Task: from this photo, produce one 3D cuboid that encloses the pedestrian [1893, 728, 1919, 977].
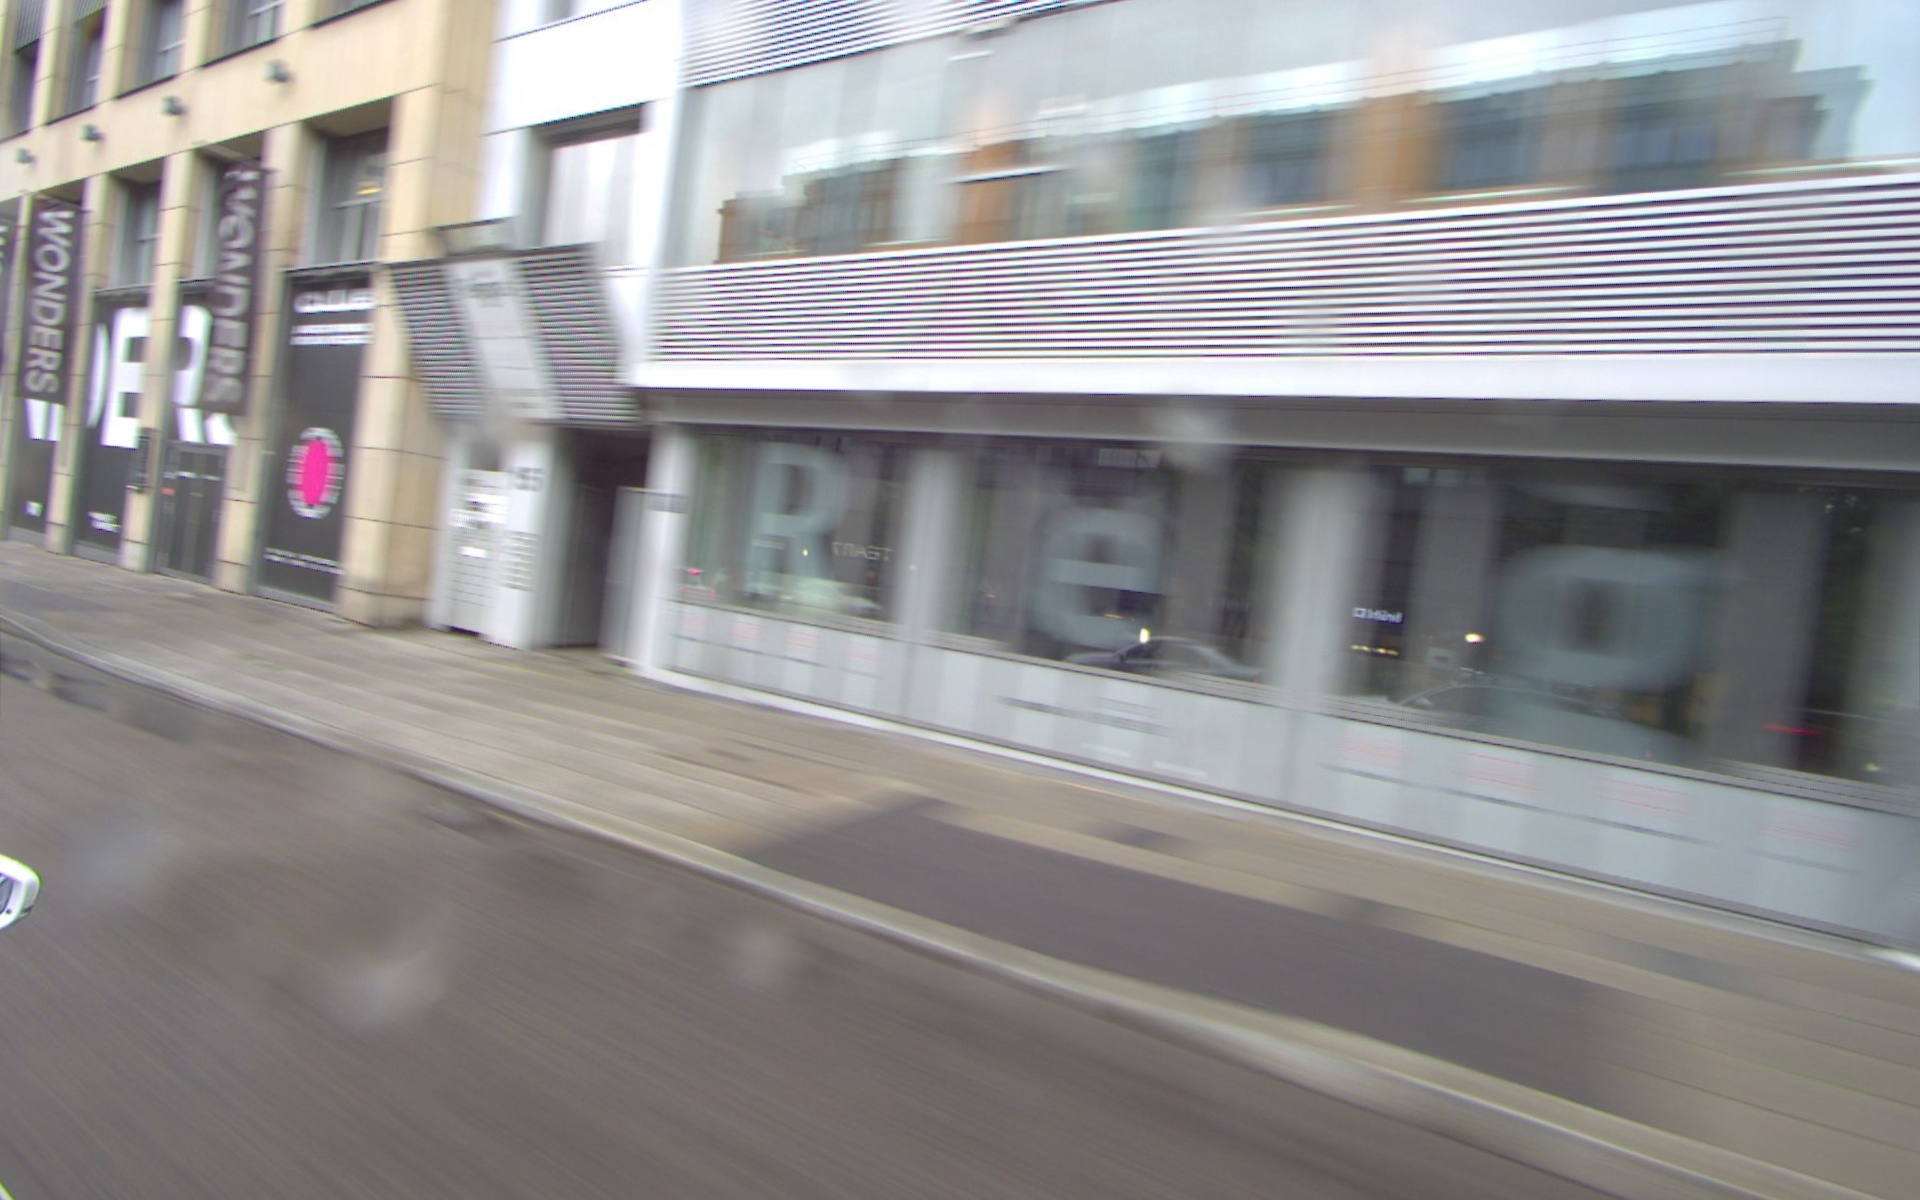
[{"bbox_3d":[5.719,1.196,5.398,0.777,1.794,0.636,7,0,32],"label":"pedestrian"}]
